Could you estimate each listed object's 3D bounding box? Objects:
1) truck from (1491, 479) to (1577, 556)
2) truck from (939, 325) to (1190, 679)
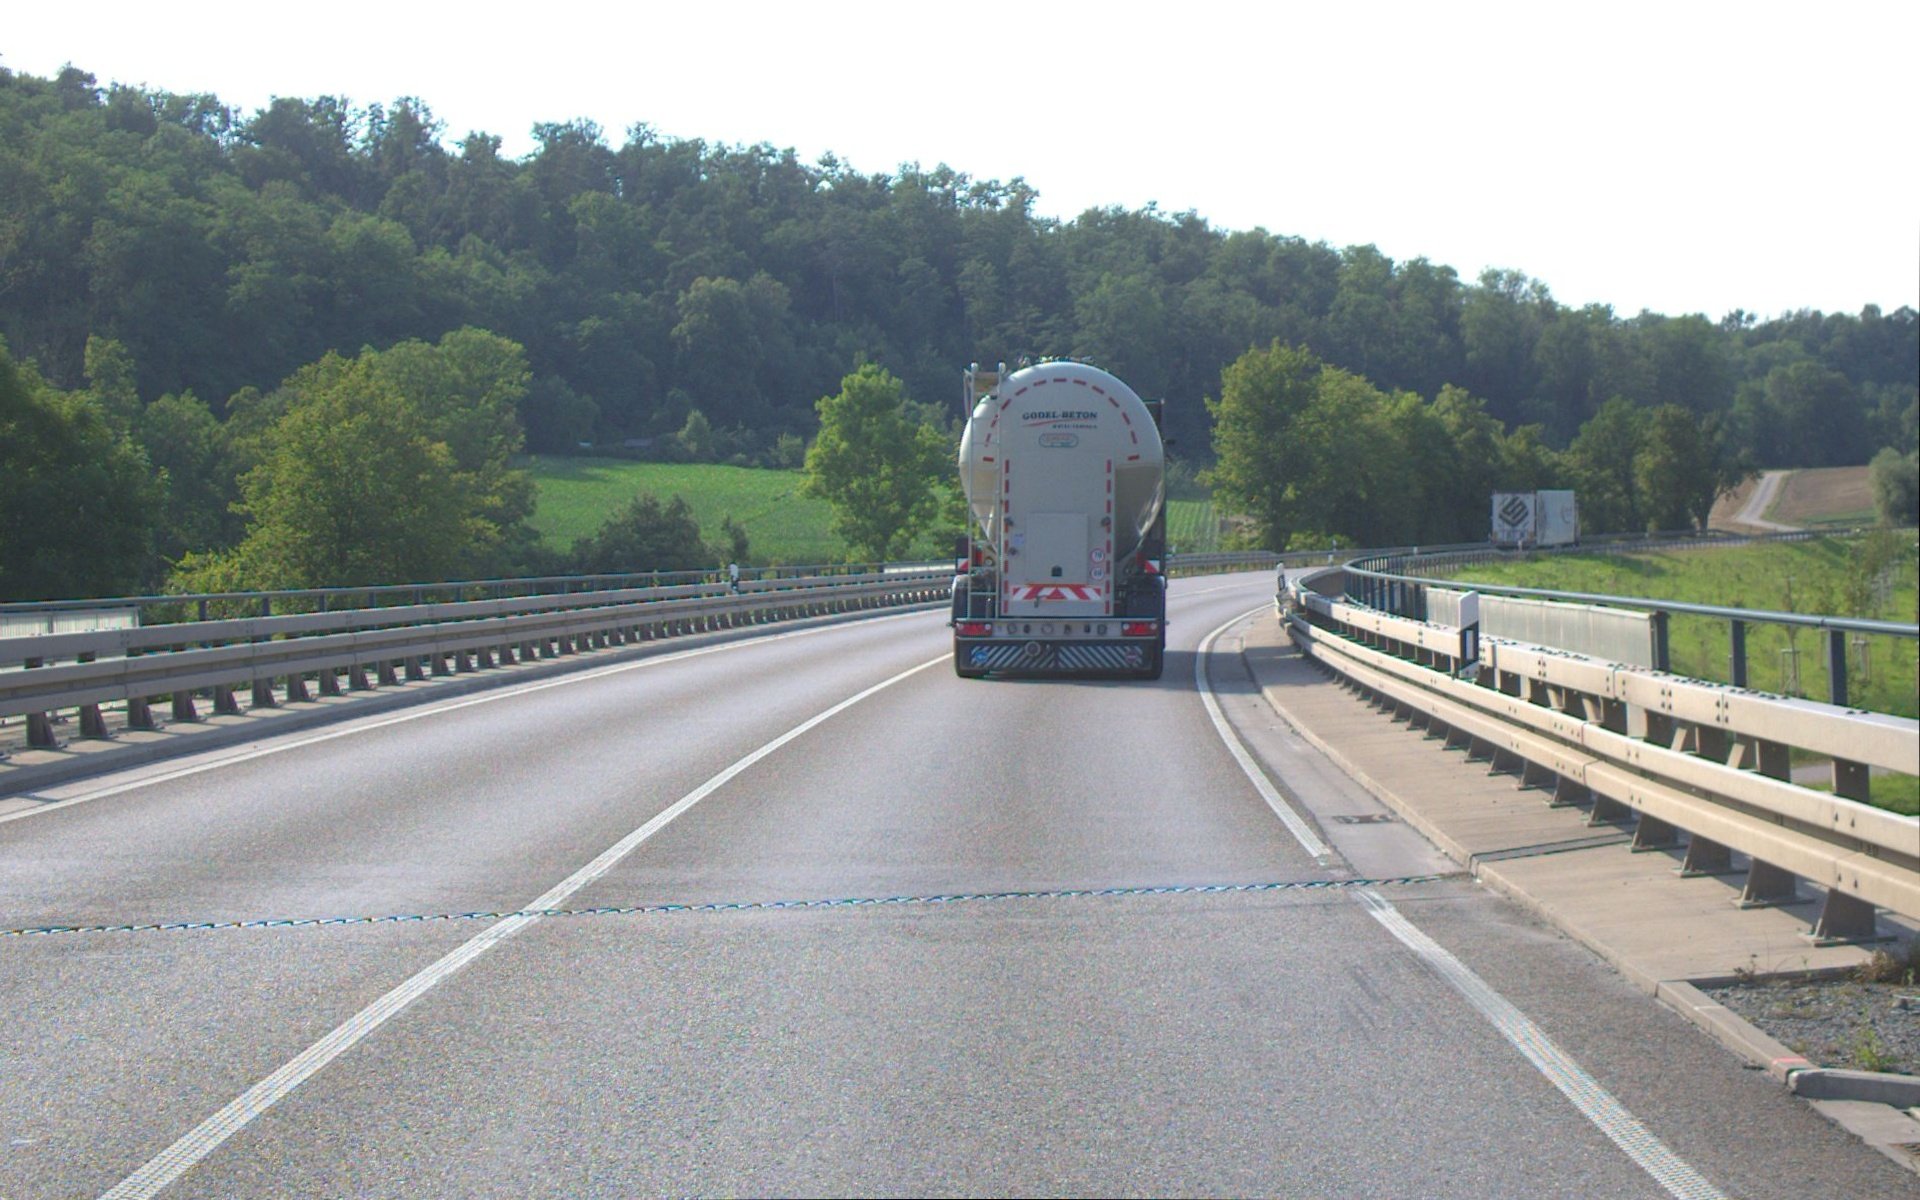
[{"bbox_3d":[33.476,-4.851,200.113,3.186,4.213,13.162,0,2,17],"label":"truck"},{"bbox_3d":[1.346,-1.282,47.007,2.893,4.128,13.172,1,1,1],"label":"truck"}]
